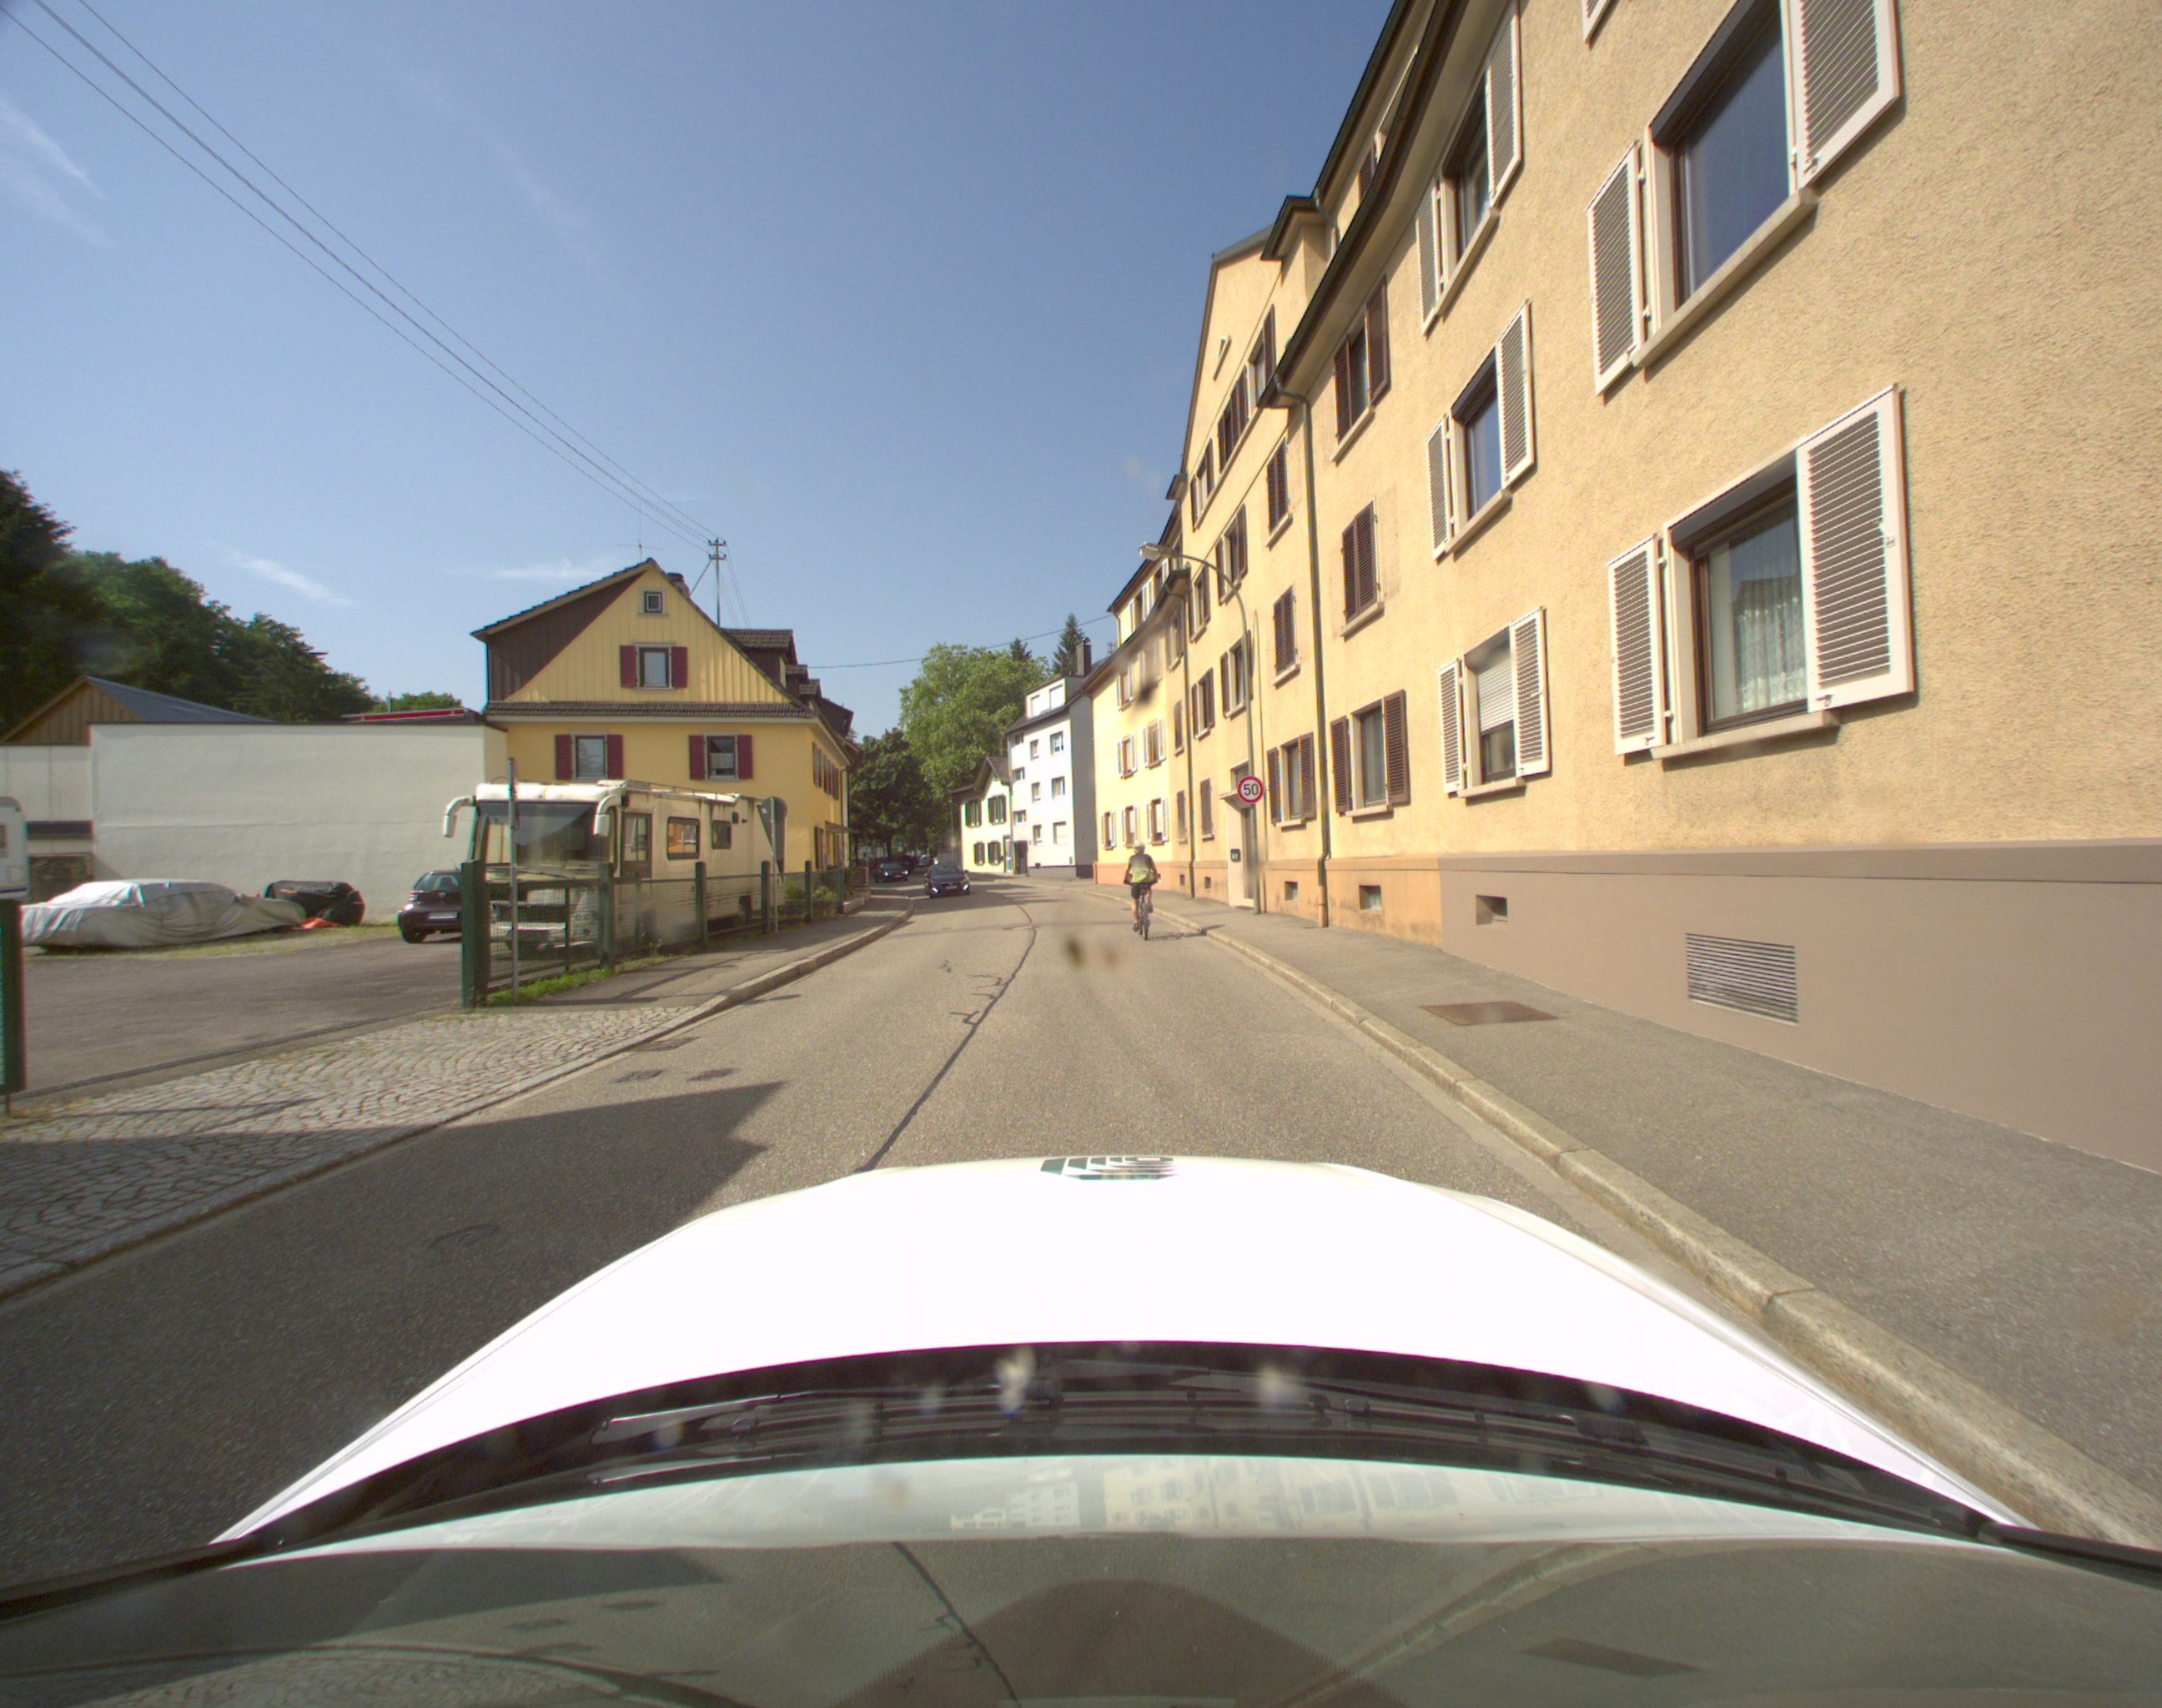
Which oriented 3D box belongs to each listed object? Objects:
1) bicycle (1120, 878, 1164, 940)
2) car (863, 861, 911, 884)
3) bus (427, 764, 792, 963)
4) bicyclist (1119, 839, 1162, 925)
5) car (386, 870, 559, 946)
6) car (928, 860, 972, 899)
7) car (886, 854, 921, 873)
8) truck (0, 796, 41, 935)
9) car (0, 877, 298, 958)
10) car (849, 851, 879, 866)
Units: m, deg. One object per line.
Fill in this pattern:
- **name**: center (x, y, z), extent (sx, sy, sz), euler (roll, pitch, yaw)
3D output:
- **bicycle**: center (1.114, 0.991, 15.133), extent (0.696, 1.035, 1.471), euler (-1, 0, 0)
- **car**: center (-14.306, 1.371, 59.880), extent (1.673, 1.449, 4.208), euler (-5, 1, -39)
- **bus**: center (-9.290, 0.164, 17.797), extent (2.812, 3.228, 9.031), euler (0, 0, -1)
- **bicyclist**: center (1.091, 0.507, 15.114), extent (0.683, 1.531, 0.715), euler (-3, -1, 0)
- **car**: center (-13.154, 1.092, 17.921), extent (1.769, 1.432, 3.977), euler (0, -1, -17)
- **car**: center (-5.931, 1.097, 36.810), extent (1.748, 1.453, 4.013), euler (-6, 1, -10)
- **car**: center (-17.702, 0.903, 81.039), extent (1.837, 1.791, 3.954), euler (-3, 2, -38)
- **truck**: center (-24.642, 0.288, 15.693), extent (2.406, 3.058, 5.720), euler (0, 1, -10)
- **car**: center (-18.528, 1.185, 16.466), extent (1.589, 1.269, 3.998), euler (0, 1, -1)
- **car**: center (-24.198, 0.450, 90.702), extent (1.722, 1.542, 3.954), euler (-3, 2, -38)
